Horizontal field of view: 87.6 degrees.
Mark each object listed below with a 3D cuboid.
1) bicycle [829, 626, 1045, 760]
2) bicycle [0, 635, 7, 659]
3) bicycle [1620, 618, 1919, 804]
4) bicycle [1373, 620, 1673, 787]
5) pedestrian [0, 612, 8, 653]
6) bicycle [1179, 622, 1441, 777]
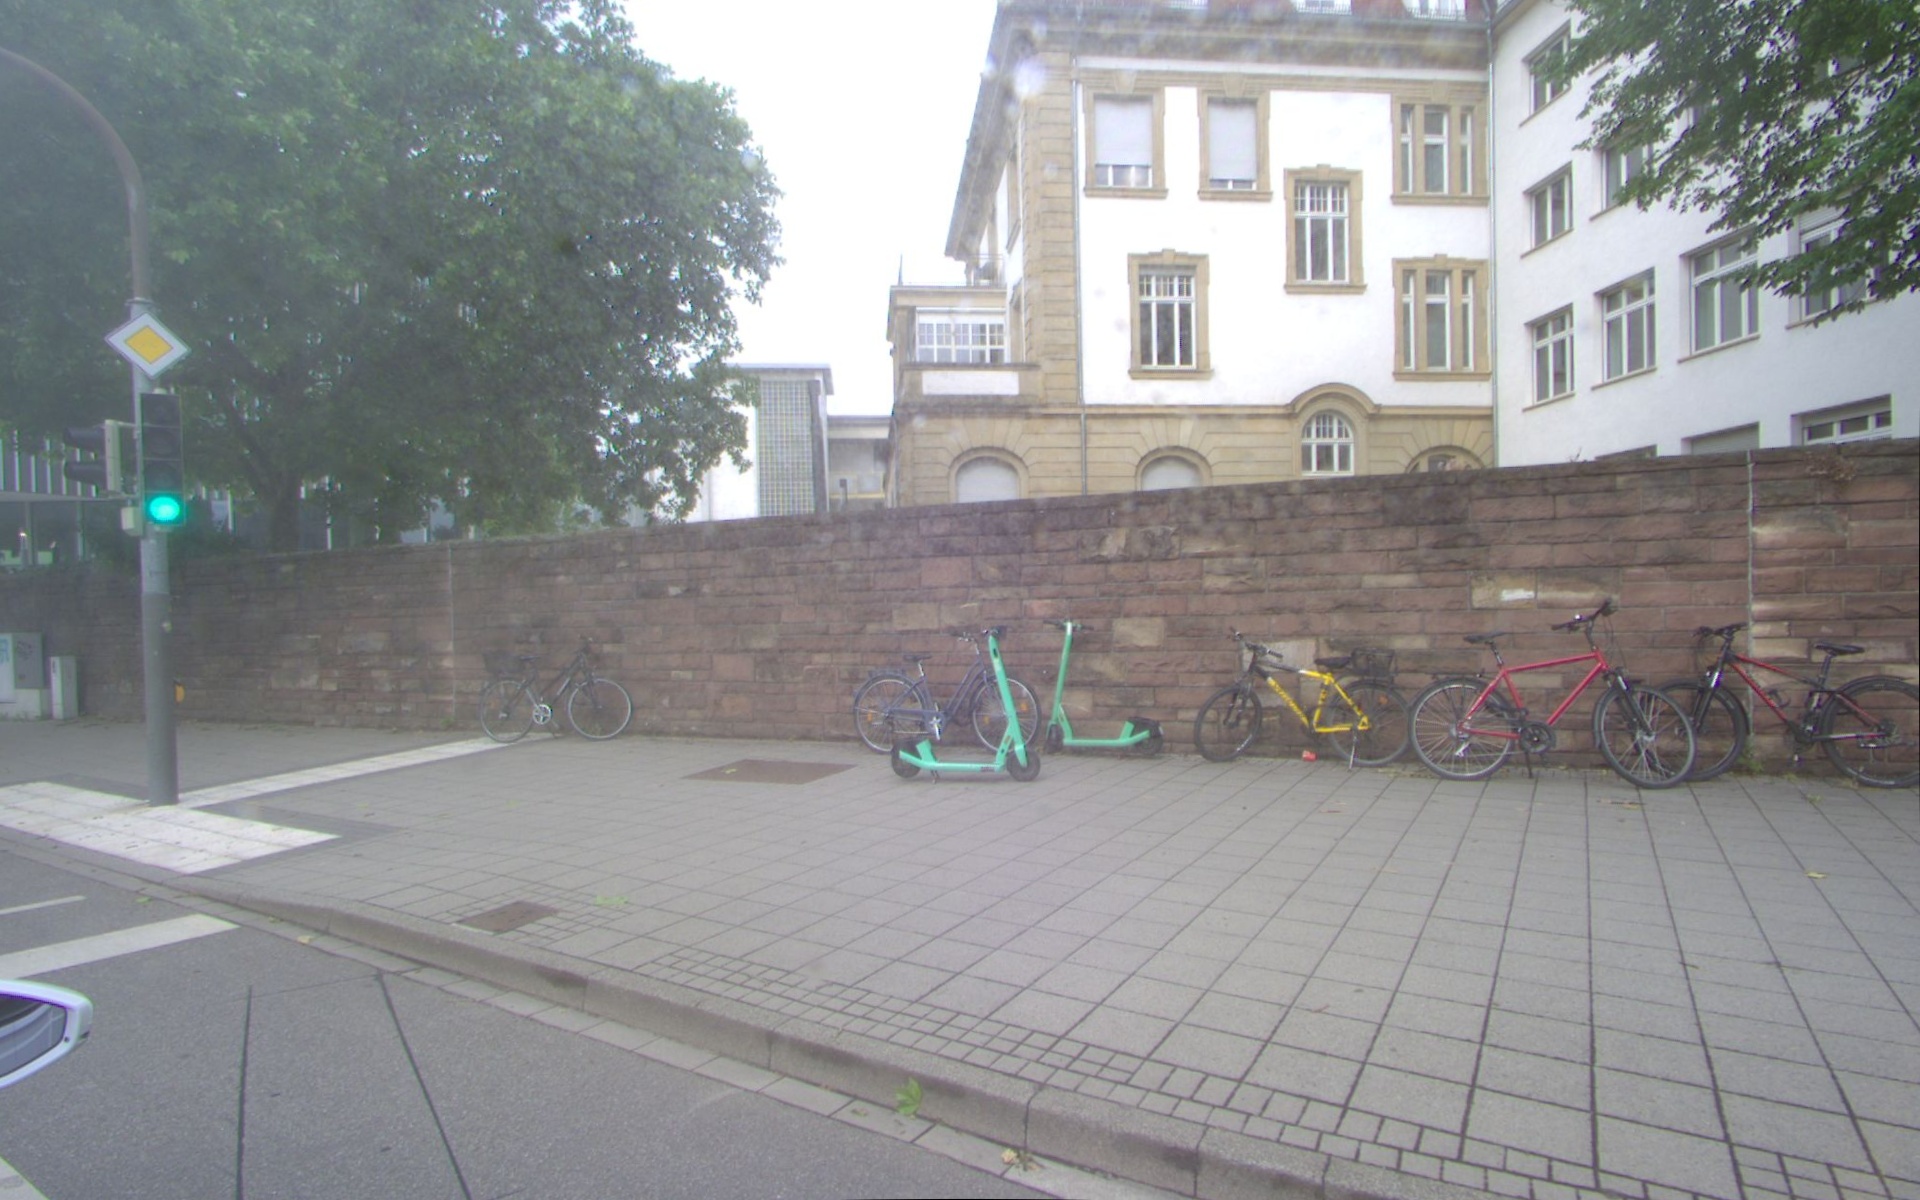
[{"bbox_3d":[-0.211,0.818,9.003,1.905,1.158,0.386,-1,-1,12],"label":"bicycle"},{"bbox_3d":[-41.373,2.031,41.971,0.766,1.019,2.192,-1,0,-1],"label":"bicycle"},{"bbox_3d":[5.475,0.702,6.539,1.907,1.158,0.339,-1,-1,17],"label":"bicycle"},{"bbox_3d":[4.007,0.733,7.185,1.904,1.158,0.386,0,-1,1],"label":"bicycle"},{"bbox_3d":[-50.382,1.686,52.016,1.171,2.088,1.127,1,-2,-37],"label":"pedestrian"},{"bbox_3d":[2.705,0.764,7.885,1.905,1.158,0.386,-1,-1,12],"label":"bicycle"}]
